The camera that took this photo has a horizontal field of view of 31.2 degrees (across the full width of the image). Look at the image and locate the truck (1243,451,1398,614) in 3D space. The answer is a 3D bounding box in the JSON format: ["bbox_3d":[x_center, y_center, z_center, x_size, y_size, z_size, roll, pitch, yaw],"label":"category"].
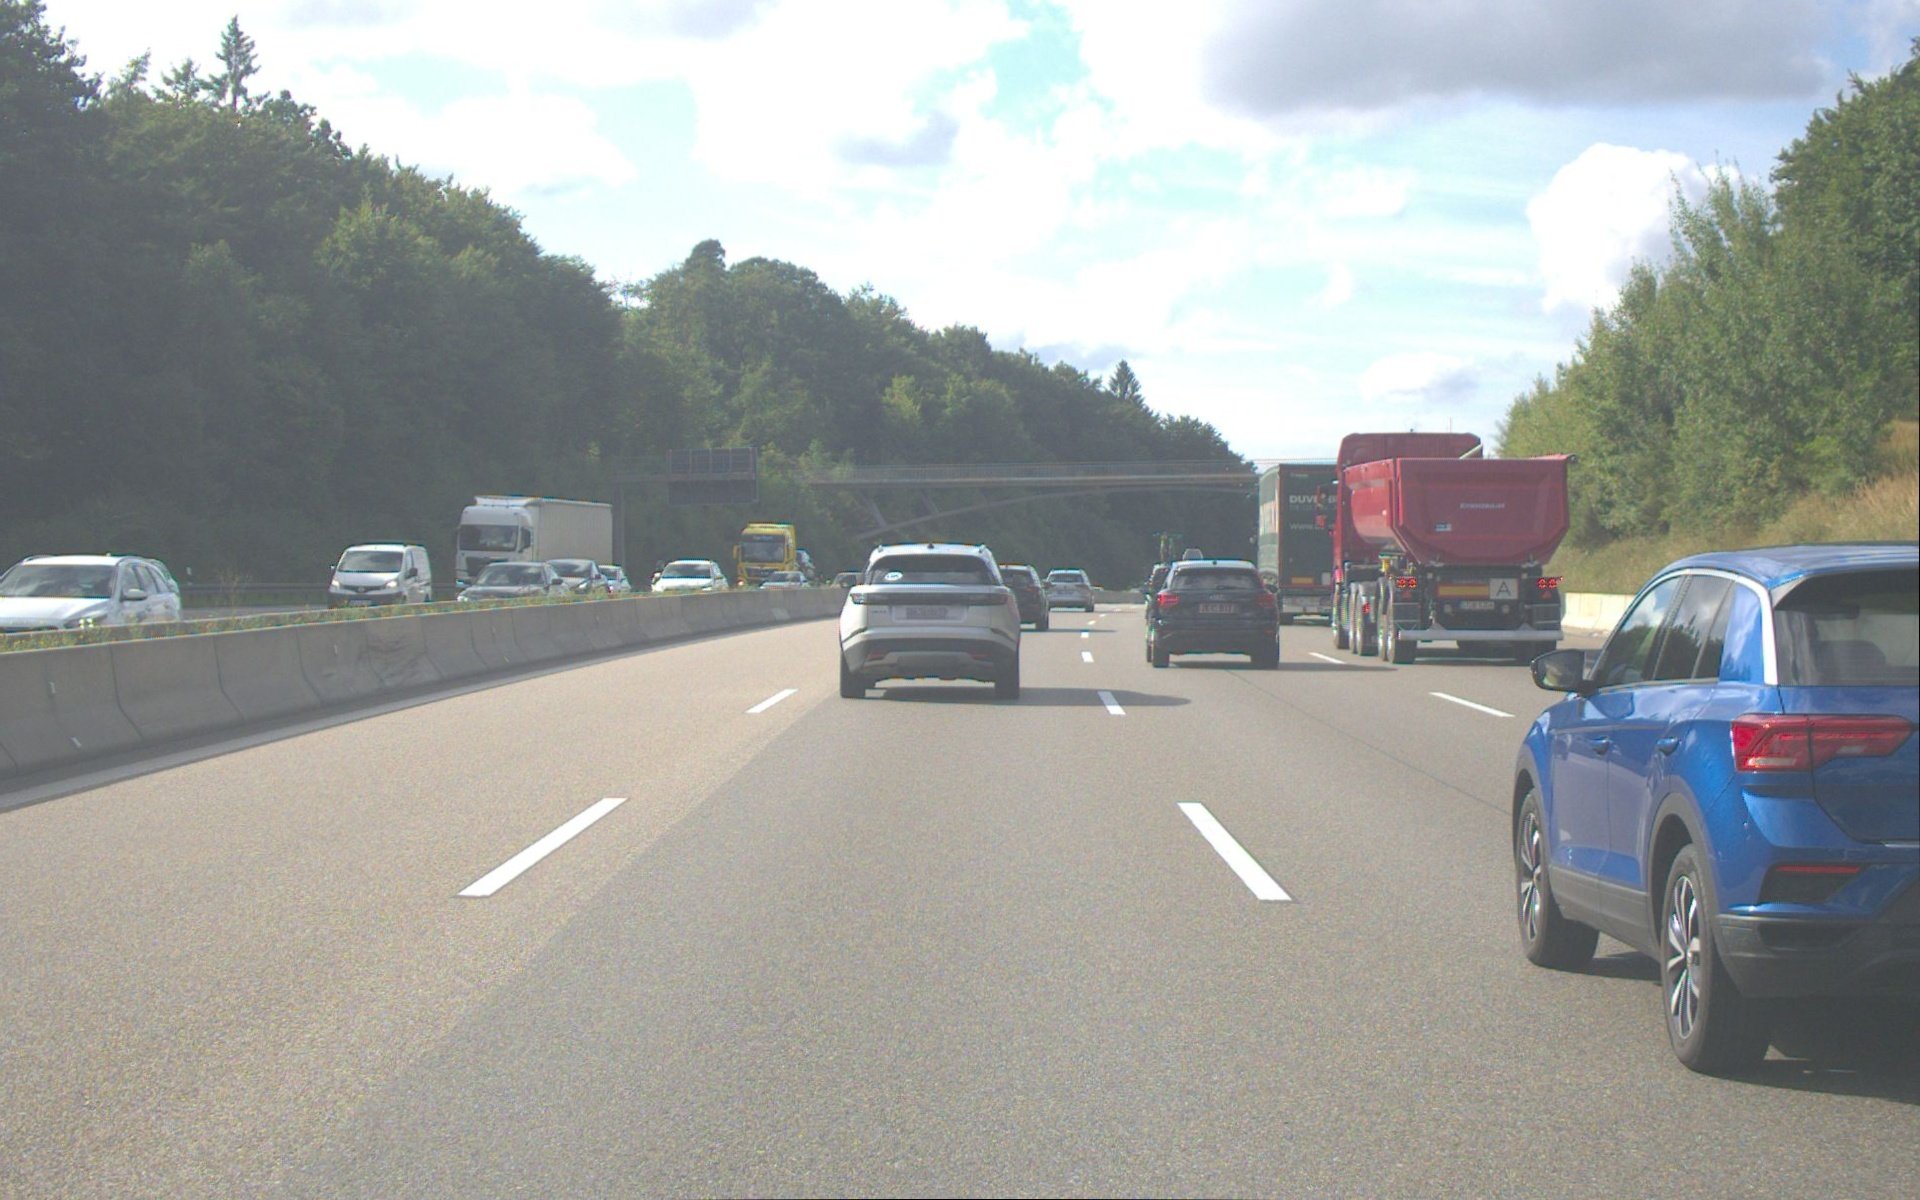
[{"bbox_3d":[9.179,-1.723,88.615,3.118,3.921,10.411,1,1,2],"label":"truck"}]

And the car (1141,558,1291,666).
[{"bbox_3d":[3.617,0.136,49.153,1.822,1.452,4.000,1,1,0],"label":"car"}]

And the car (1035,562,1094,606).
[{"bbox_3d":[3.630,-0.568,118.536,1.822,1.452,3.999,1,1,5],"label":"car"}]

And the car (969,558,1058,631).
[{"bbox_3d":[1.231,-0.145,77.110,1.822,1.541,4.000,2,1,3],"label":"car"}]

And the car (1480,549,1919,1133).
[{"bbox_3d":[2.914,0.600,11.214,1.773,1.525,4.458,0,1,0],"label":"car"}]

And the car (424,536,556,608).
[{"bbox_3d":[-9.543,-0.586,70.114,1.993,1.386,4.748,1,1,1],"label":"car"}]

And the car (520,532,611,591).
[{"bbox_3d":[-11.637,-1.155,101.664,1.993,1.681,4.679,1,1,2],"label":"car"}]

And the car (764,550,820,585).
[{"bbox_3d":[-7.374,-1.440,151.613,1.994,1.481,4.983,1,1,3],"label":"car"}]

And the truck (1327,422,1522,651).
[{"bbox_3d":[7.883,-1.076,58.919,2.710,3.706,5.817,1,1,2],"label":"truck"}]

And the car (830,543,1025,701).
[{"bbox_3d":[-0.312,0.187,38.244,2.006,1.611,5.301,1,1,1],"label":"car"}]

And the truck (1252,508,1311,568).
[{"bbox_3d":[16.057,-3.059,171.647,2.845,2.915,8.384,1,0,6],"label":"truck"}]

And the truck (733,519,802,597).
[{"bbox_3d":[-9.538,-2.101,170.837,2.776,3.797,7.134,0,1,2],"label":"truck"}]

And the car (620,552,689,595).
[{"bbox_3d":[-10.829,-0.941,122.173,1.848,1.493,4.128,1,1,3],"label":"car"}]

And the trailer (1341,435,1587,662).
[{"bbox_3d":[7.743,-0.818,54.013,2.710,3.220,9.732,1,1,2],"label":"trailer"}]

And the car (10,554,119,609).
[{"bbox_3d":[-20.443,-0.431,78.592,1.494,1.208,3.788,1,1,0],"label":"car"}]

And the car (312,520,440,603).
[{"bbox_3d":[-13.437,-0.897,79.398,1.993,1.831,4.729,1,1,2],"label":"car"}]

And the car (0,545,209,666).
[{"bbox_3d":[-10.276,0.018,40.051,1.993,1.304,4.832,1,1,0],"label":"car"}]

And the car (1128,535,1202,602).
[{"bbox_3d":[5.817,-0.909,97.944,1.893,1.850,4.100,1,1,1],"label":"car"}]

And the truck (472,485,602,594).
[{"bbox_3d":[-16.559,-2.375,135.617,2.707,4.054,13.087,1,1,4],"label":"truck"}]

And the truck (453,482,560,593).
[{"bbox_3d":[-17.001,-2.336,129.251,2.707,4.054,6.597,1,1,4],"label":"truck"}]
